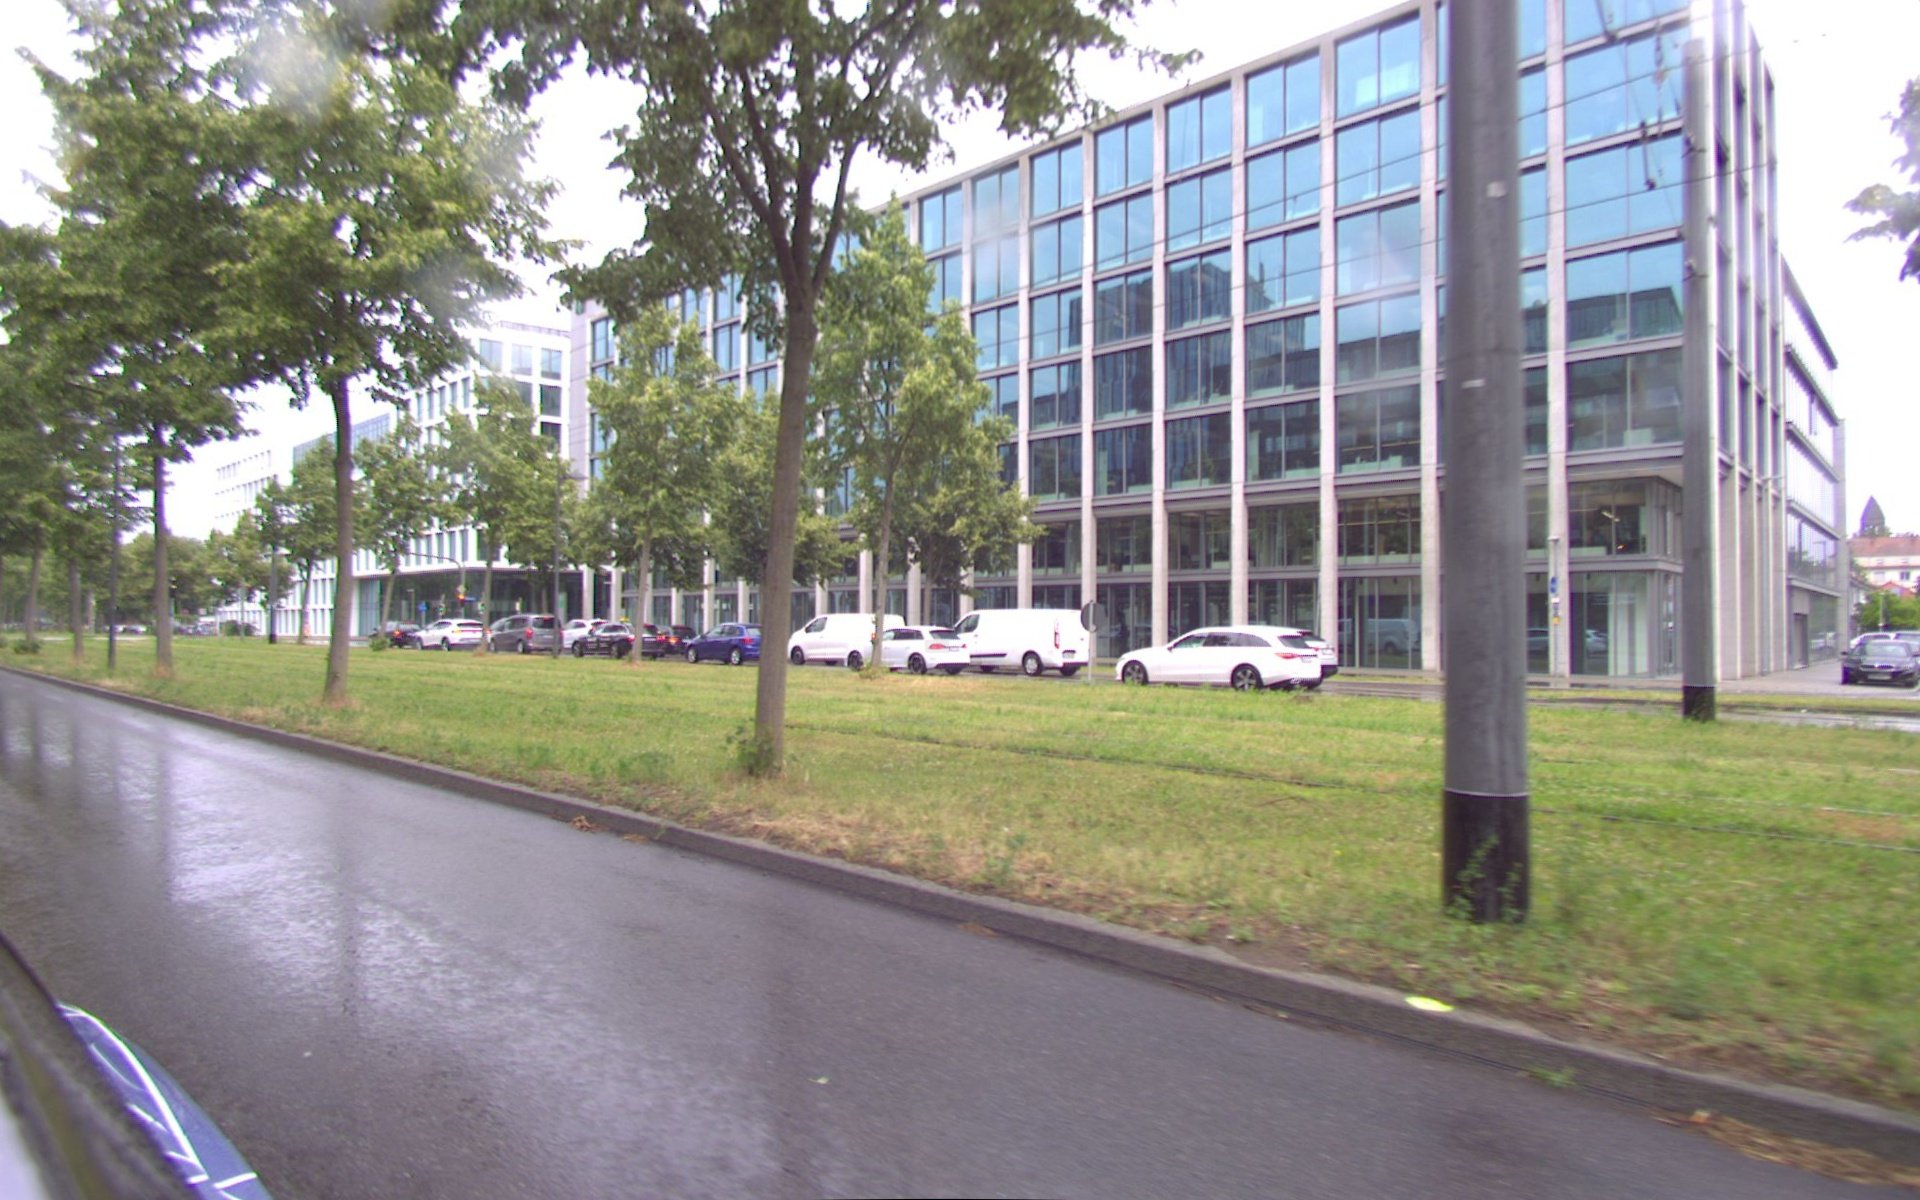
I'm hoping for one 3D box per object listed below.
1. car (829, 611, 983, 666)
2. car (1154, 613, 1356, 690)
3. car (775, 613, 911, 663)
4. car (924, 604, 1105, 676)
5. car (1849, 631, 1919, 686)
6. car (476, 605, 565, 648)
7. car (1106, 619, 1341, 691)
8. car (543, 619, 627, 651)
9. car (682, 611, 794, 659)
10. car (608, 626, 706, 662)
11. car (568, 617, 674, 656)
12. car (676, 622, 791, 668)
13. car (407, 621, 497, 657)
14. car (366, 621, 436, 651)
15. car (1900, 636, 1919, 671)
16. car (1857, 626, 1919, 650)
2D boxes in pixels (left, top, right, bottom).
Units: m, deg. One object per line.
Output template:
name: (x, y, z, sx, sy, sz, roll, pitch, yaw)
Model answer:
car: (-1.677, 1.097, 30.294, 4.573, 1.525, 1.930, -1, -1, 41)
car: (7.432, 1.226, 25.769, 4.577, 1.762, 1.929, -1, -1, 44)
car: (-4.303, 1.399, 36.641, 5.024, 1.664, 1.931, -4, -3, 39)
car: (1.586, 1.279, 31.399, 5.371, 2.022, 2.244, -4, -3, 42)
car: (30.162, 1.874, 32.808, 1.745, 1.621, 3.746, -4, -3, 44)
car: (-19.956, 1.212, 45.924, 4.540, 1.863, 1.931, -2, -2, 41)
car: (5.889, 1.248, 23.074, 4.833, 1.472, 1.928, -4, -3, 45)
car: (-18.142, 1.687, 48.872, 4.267, 1.396, 1.932, -4, -3, 39)
car: (-8.975, 1.431, 40.793, 4.628, 1.759, 1.931, -4, -3, 39)
car: (-13.337, 1.949, 44.481, 4.620, 1.457, 1.840, -4, -3, 39)
car: (-13.605, 1.480, 40.476, 4.601, 1.396, 1.931, -4, -3, 40)
car: (-8.047, 1.614, 35.784, 3.957, 1.506, 1.931, -4, -3, 39)
car: (-22.129, 1.642, 44.033, 4.573, 1.463, 1.930, -1, -1, 41)
car: (-30.589, 1.993, 55.347, 4.460, 1.571, 1.931, -3, -3, 41)
car: (47.847, 2.632, 50.100, 1.745, 1.621, 4.174, -4, -3, 45)
car: (66.989, 2.721, 72.267, 4.229, 1.621, 1.722, -3, -3, 37)
